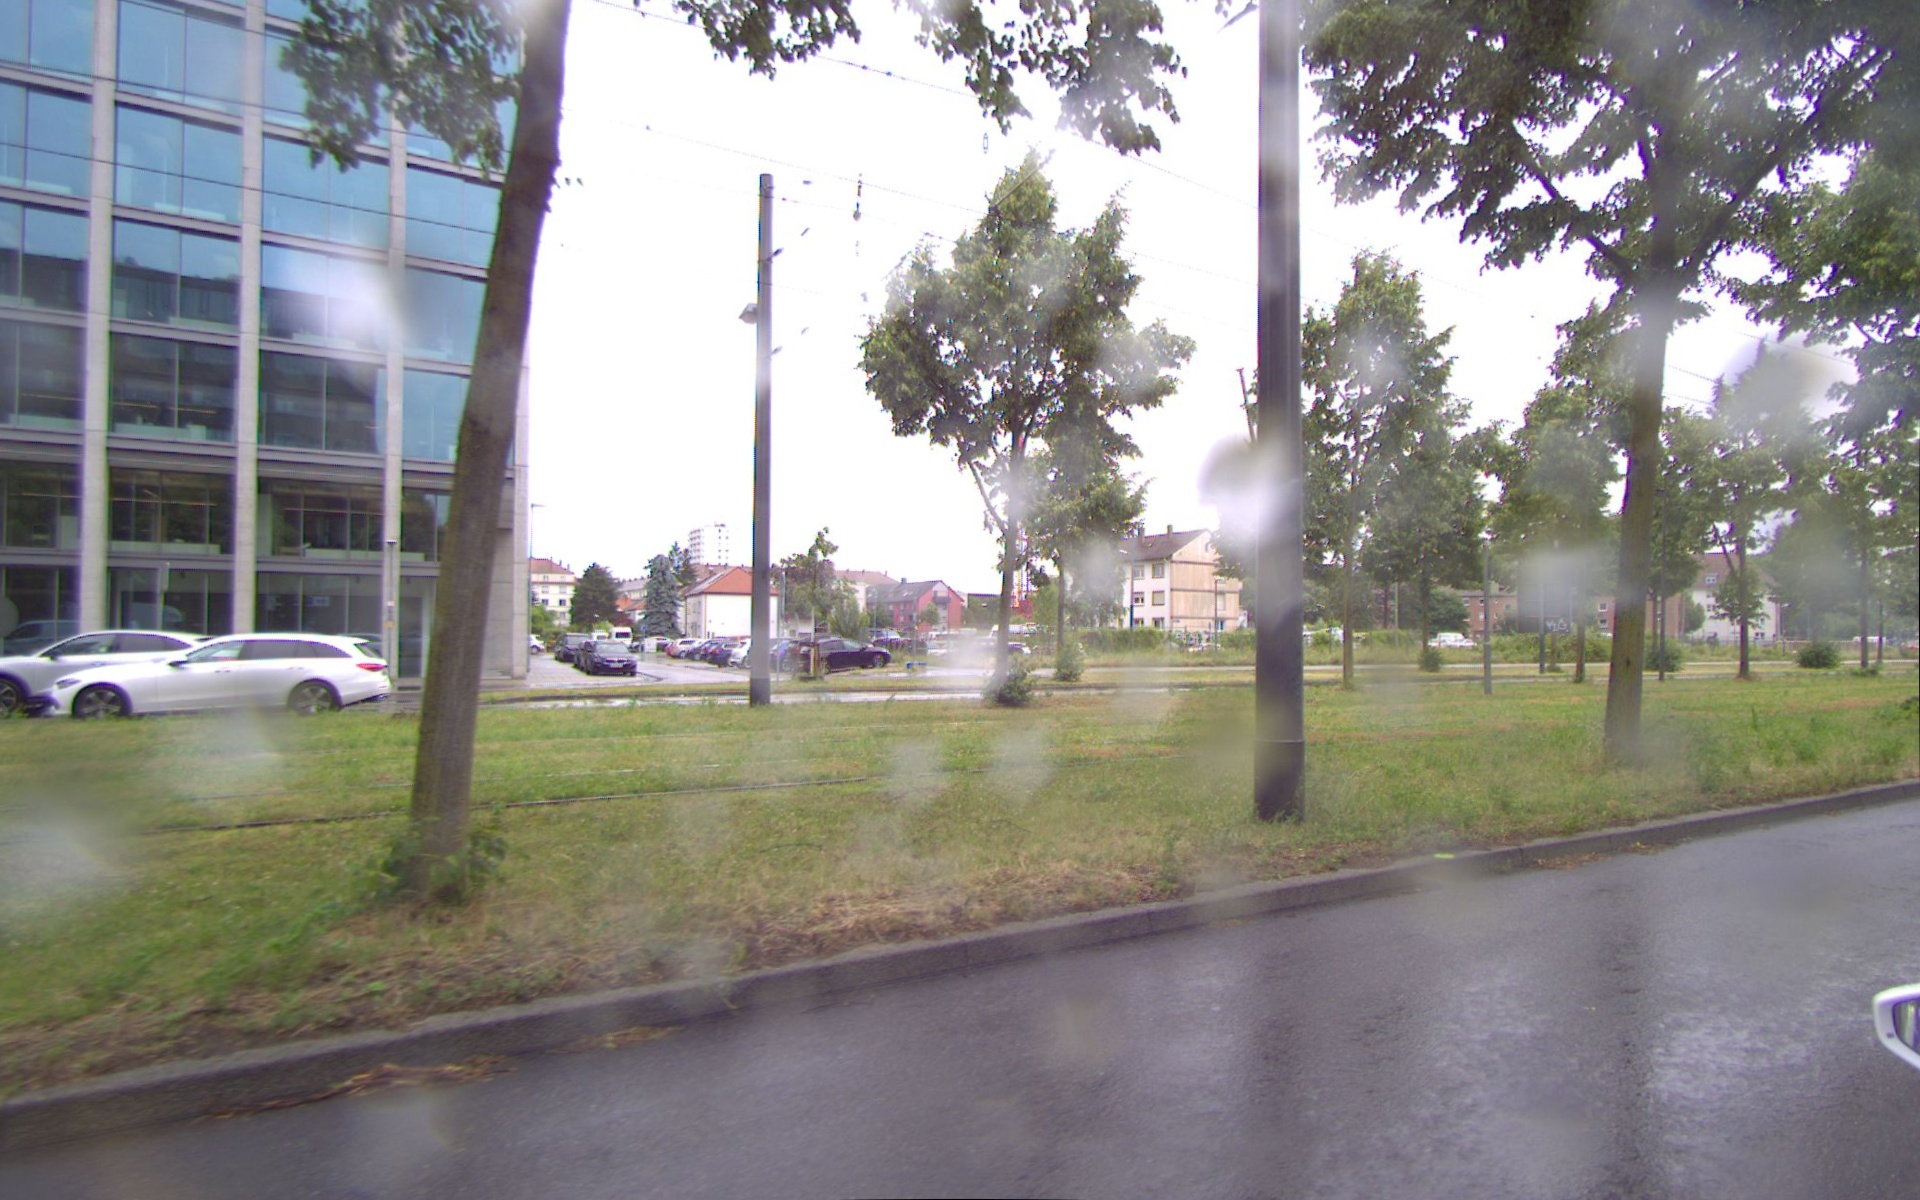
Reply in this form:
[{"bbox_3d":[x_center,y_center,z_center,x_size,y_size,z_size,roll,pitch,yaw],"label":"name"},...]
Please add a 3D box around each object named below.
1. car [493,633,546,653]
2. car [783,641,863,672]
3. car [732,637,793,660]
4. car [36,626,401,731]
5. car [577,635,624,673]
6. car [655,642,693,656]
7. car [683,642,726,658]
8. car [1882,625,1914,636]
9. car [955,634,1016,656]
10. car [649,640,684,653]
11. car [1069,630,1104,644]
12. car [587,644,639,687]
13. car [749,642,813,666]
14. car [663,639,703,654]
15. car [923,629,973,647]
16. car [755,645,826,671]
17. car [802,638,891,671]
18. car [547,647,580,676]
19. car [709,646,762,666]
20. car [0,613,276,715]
[{"bbox_3d":[-40.022,3.877,91.307,4.191,1.630,1.728,-1,-1,-34],"label":"car"},{"bbox_3d":[-6.323,2.588,46.395,3.437,1.256,1.373,-1,-1,-26],"label":"car"},{"bbox_3d":[-10.655,2.584,54.132,2.977,1.087,1.285,-1,-1,-27],"label":"car"},{"bbox_3d":[-12.503,1.257,17.406,4.767,1.480,1.944,-1,-1,-26],"label":"car"},{"bbox_3d":[-17.540,2.580,48.910,1.721,1.630,4.135,-1,-1,-25],"label":"car"},{"bbox_3d":[-23.594,4.015,82.916,2.824,1.030,1.152,-1,-1,-27],"label":"car"},{"bbox_3d":[-18.631,3.670,73.233,2.824,1.030,1.152,-1,-1,-27],"label":"car"},{"bbox_3d":[147.323,4.776,157.776,3.487,1.762,1.699,-2,-1,37],"label":"car"},{"bbox_3d":[1.748,3.069,68.686,3.848,1.368,1.685,-1,-1,-25],"label":"car"},{"bbox_3d":[-25.820,4.101,88.412,2.824,1.030,1.152,-1,-1,-27],"label":"car"},{"bbox_3d":[10.968,3.160,86.776,2.770,1.123,1.227,-1,0,-25],"label":"car"},{"bbox_3d":[-14.957,2.784,43.220,1.721,1.630,3.777,-1,-1,-25],"label":"car"},{"bbox_3d":[-9.196,2.766,51.628,2.977,1.087,1.285,-1,-1,-27],"label":"car"},{"bbox_3d":[-21.502,3.604,77.917,2.824,1.030,1.152,-1,-1,-27],"label":"car"},{"bbox_3d":[-1.015,3.161,84.569,3.848,1.368,1.685,-1,-1,-25],"label":"car"},{"bbox_3d":[-8.189,2.783,48.513,3.177,1.082,1.182,-1,-1,-26],"label":"car"},{"bbox_3d":[-4.976,2.364,44.105,3.612,1.256,1.495,-1,-1,-27],"label":"car"},{"bbox_3d":[-25.764,3.962,65.243,1.721,1.630,4.210,-1,-1,-25],"label":"car"},{"bbox_3d":[-13.084,3.262,58.642,2.824,1.030,1.152,-1,-1,-27],"label":"car"},{"bbox_3d":[-15.889,1.173,19.057,4.517,1.772,1.944,2,-1,-27],"label":"car"}]
